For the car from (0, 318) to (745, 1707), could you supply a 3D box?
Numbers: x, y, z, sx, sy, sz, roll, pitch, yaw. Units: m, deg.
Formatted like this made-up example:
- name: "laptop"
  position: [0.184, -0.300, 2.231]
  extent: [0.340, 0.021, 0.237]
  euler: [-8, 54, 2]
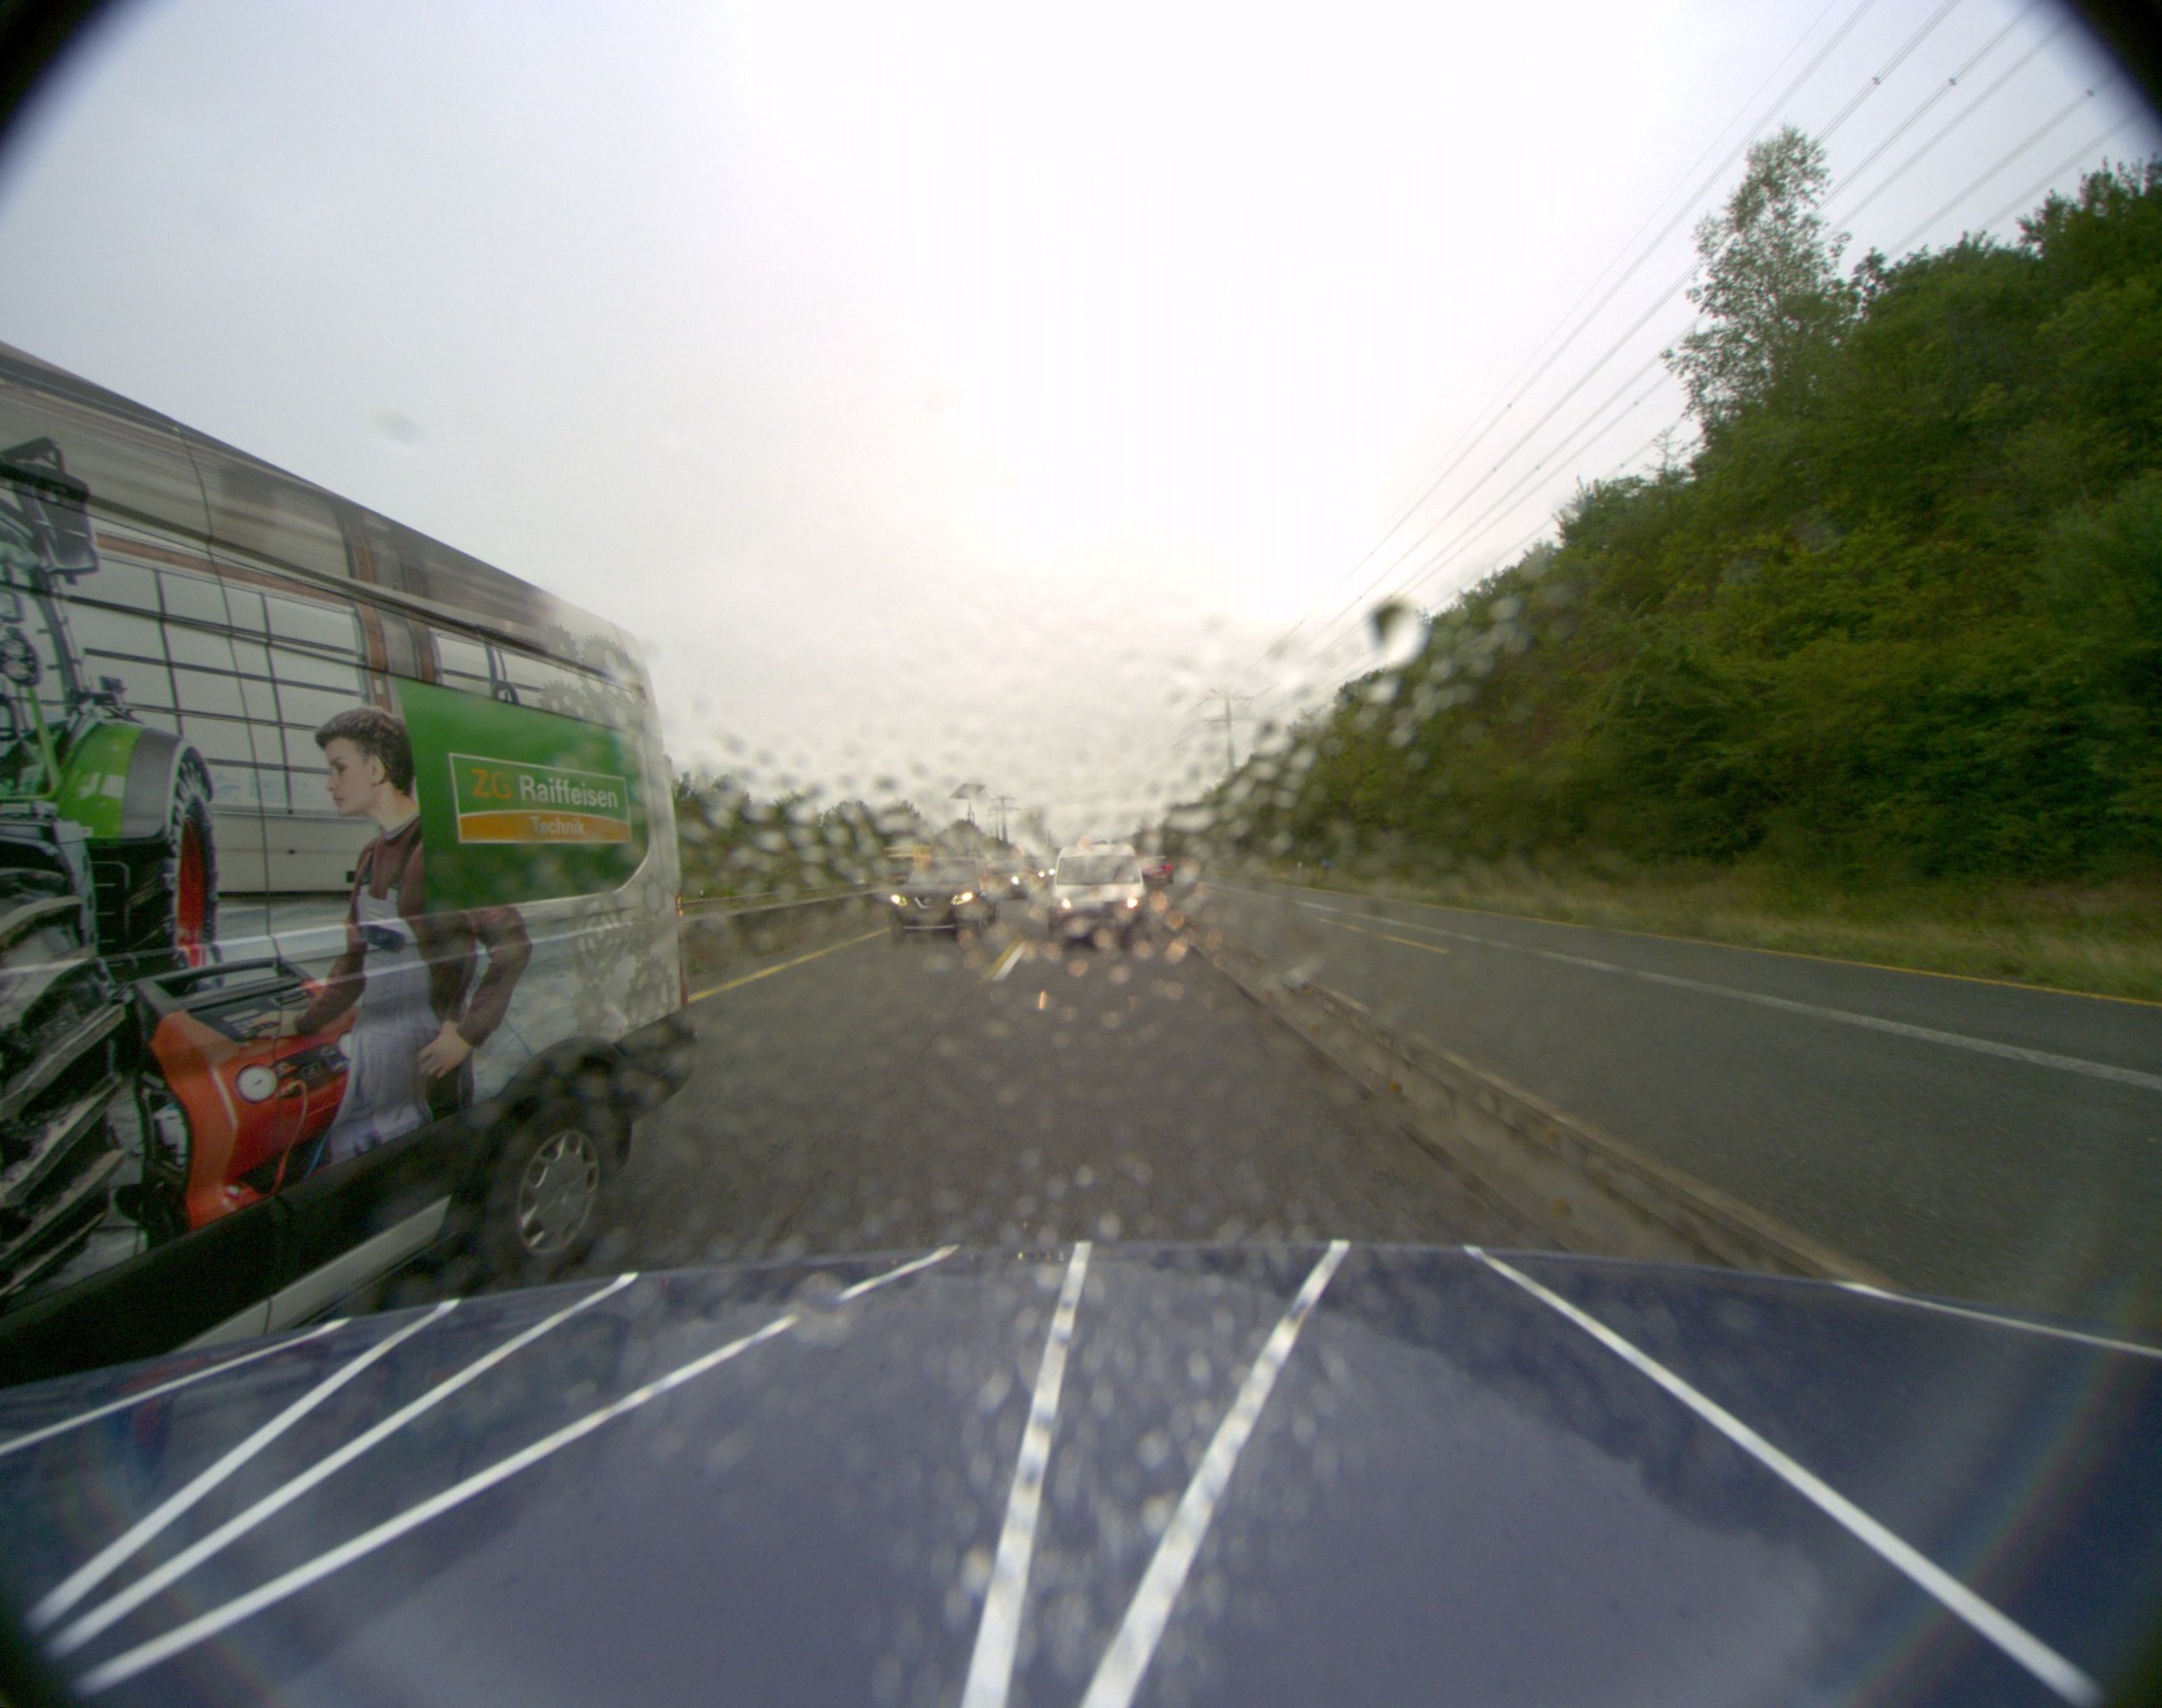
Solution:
- name: "car"
  position: [-2.971, 0.415, 0.902]
  extent: [2.149, 2.660, 6.117]
  euler: [-2, 1, 2]

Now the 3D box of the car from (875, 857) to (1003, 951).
- name: "car"
  position: [-2.931, 0.960, 16.720]
  extent: [1.894, 1.665, 4.640]
  euler: [-2, 0, 0]

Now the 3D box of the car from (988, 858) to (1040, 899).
- name: "car"
  position: [-2.726, 0.975, 31.792]
  extent: [1.784, 1.482, 4.123]
  euler: [-2, 0, 0]

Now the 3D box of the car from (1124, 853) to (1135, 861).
- name: "car"
  position: [9.440, 0.595, 148.373]
  extent: [1.778, 1.442, 4.449]
  euler: [-2, 0, 1]

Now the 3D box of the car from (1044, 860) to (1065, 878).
- name: "car"
  position: [-2.499, 1.400, 72.221]
  extent: [1.784, 1.482, 4.123]
  euler: [-2, 0, 0]

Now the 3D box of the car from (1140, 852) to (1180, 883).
- name: "car"
  position: [4.341, 0.730, 42.319]
  extent: [1.799, 1.546, 4.000]
  euler: [-2, 1, 1]

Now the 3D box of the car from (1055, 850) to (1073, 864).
- name: "car"
  position: [-1.814, 0.289, 83.027]
  extent: [1.784, 1.482, 4.123]
  euler: [-2, 0, 0]

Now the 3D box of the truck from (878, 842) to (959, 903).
- name: "truck"
  position: [-9.913, 1.005, 47.635]
  extent: [2.619, 3.404, 9.576]
  euler: [-2, 0, 2]

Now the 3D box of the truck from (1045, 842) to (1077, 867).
- name: "truck"
  position: [-3.062, 0.030, 112.279]
  extent: [2.622, 3.404, 9.563]
  euler: [-2, 1, -14]

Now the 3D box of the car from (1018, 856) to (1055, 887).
- name: "car"
  position: [-2.445, 0.933, 42.736]
  extent: [1.784, 1.589, 4.123]
  euler: [-2, 1, 0]

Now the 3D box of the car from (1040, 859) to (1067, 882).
- name: "car"
  position: [-1.942, 1.152, 55.206]
  extent: [1.784, 1.482, 4.123]
  euler: [-2, 0, 0]

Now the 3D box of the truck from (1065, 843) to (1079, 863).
- name: "truck"
  position: [-1.723, -0.238, 149.271]
  extent: [2.619, 3.868, 9.574]
  euler: [-2, 1, 0]

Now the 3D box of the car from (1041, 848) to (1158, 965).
- name: "car"
  position: [0.282, 0.806, 14.270]
  extent: [1.784, 1.775, 4.697]
  euler: [-2, 1, 0]
